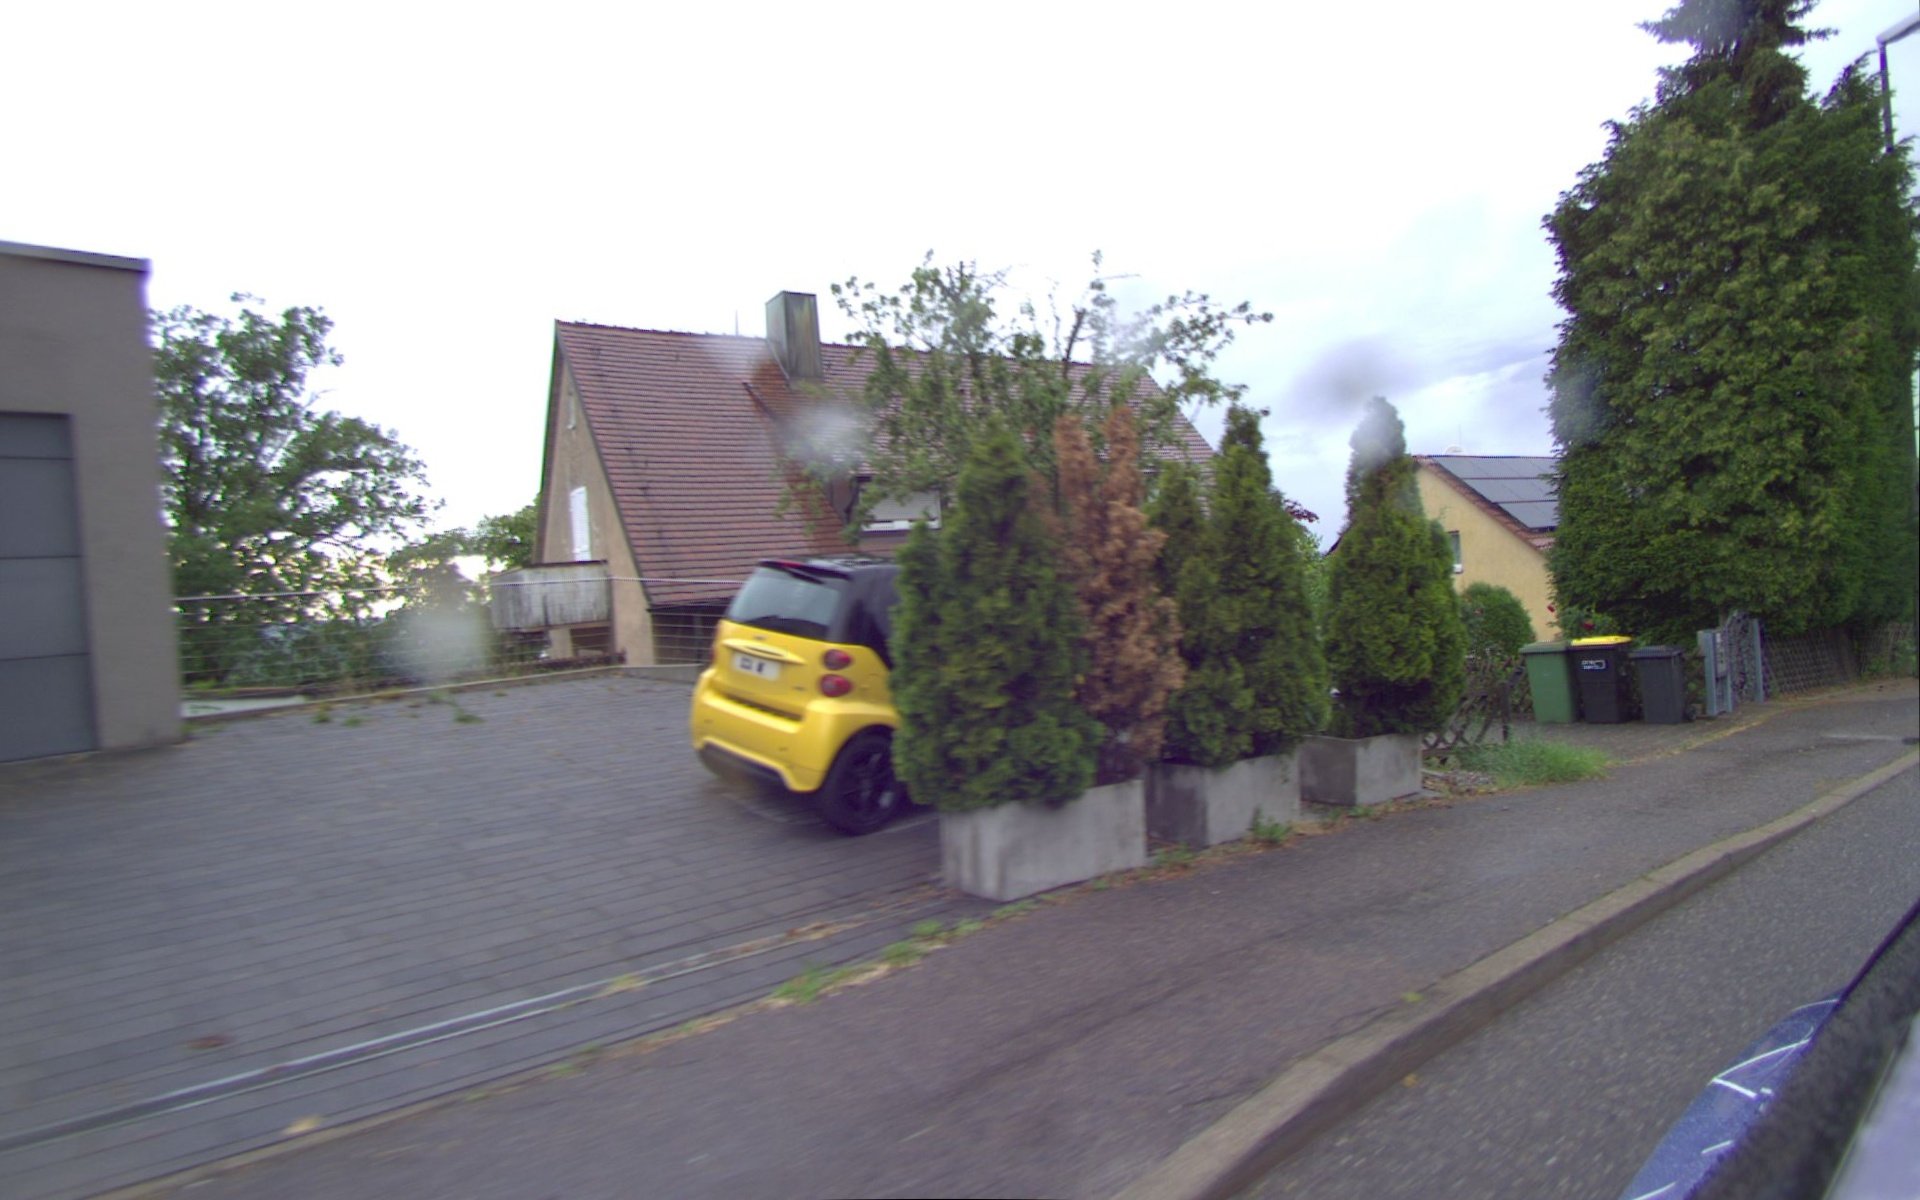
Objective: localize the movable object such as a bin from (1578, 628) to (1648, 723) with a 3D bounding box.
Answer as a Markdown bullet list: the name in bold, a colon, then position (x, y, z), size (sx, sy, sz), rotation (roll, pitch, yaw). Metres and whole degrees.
- **movable object such as a bin**: position (8.146, 0.937, 12.627), size (0.584, 1.132, 0.505), rotation (0, -4, -39)

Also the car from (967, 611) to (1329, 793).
- **car**: position (2.207, 1.221, 11.988), size (3.737, 1.680, 1.761), rotation (-7, 0, 28)

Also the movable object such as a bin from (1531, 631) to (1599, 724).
- **movable object such as a bin**: position (7.840, 0.999, 13.118), size (0.584, 1.153, 0.523), rotation (0, -4, -39)

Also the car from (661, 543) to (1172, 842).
- **car**: position (-0.161, 0.431, 7.160), size (1.629, 1.511, 3.372), rotation (7, 6, 44)

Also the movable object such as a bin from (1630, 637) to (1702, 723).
- **movable object such as a bin**: position (8.503, 0.957, 12.191), size (0.584, 0.982, 0.505), rotation (0, -4, -39)
